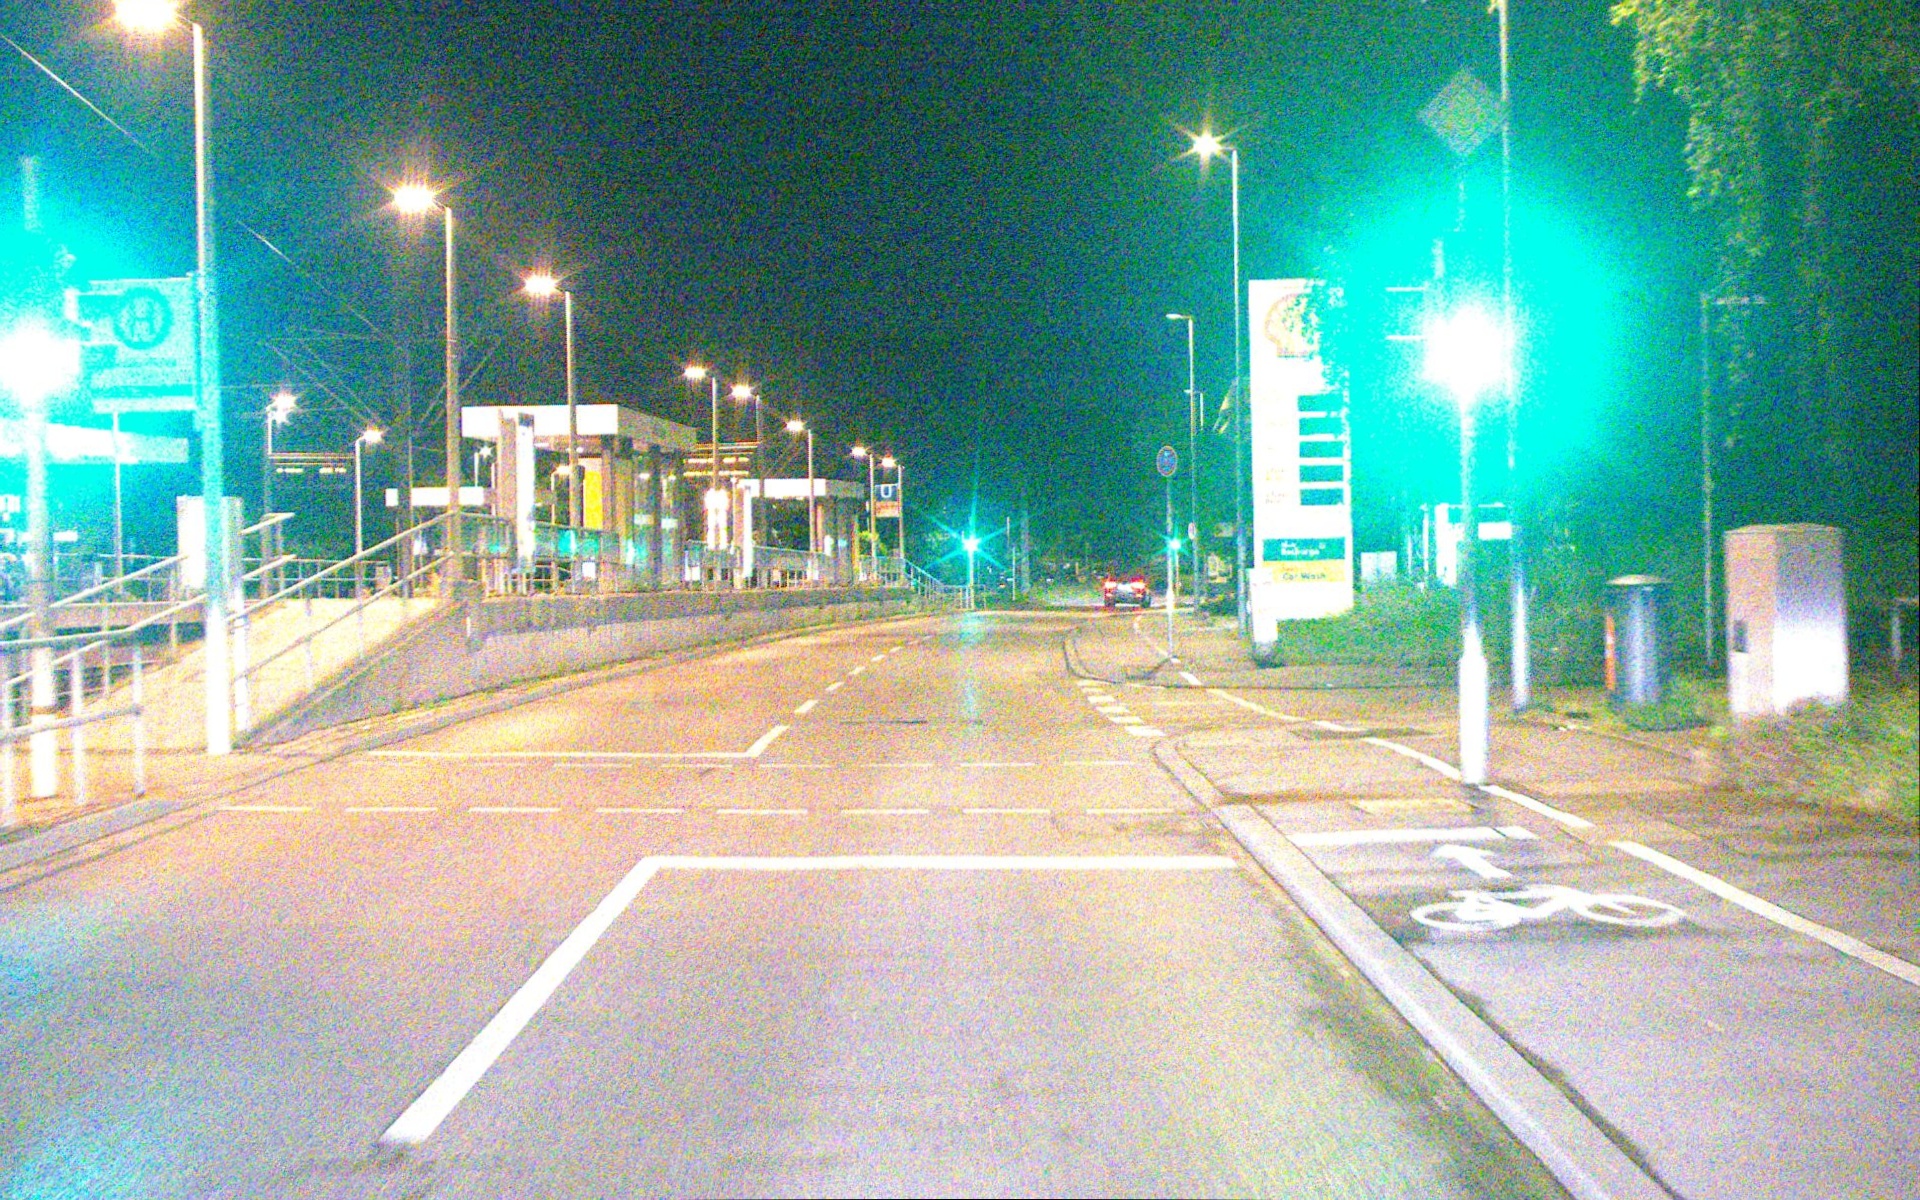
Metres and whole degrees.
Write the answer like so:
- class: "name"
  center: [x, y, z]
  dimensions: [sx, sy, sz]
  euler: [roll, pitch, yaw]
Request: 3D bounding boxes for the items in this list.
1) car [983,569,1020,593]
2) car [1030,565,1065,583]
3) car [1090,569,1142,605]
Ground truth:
- class: "car"
  center: [2.866, -1.314, 235.824]
  dimensions: [1.994, 1.622, 4.676]
  euler: [0, 0, 8]
- class: "car"
  center: [6.518, -1.951, 255.322]
  dimensions: [1.994, 1.333, 5.430]
  euler: [0, 0, 8]
- class: "car"
  center: [6.907, -0.569, 151.990]
  dimensions: [2.162, 1.577, 4.013]
  euler: [1, 0, 4]
